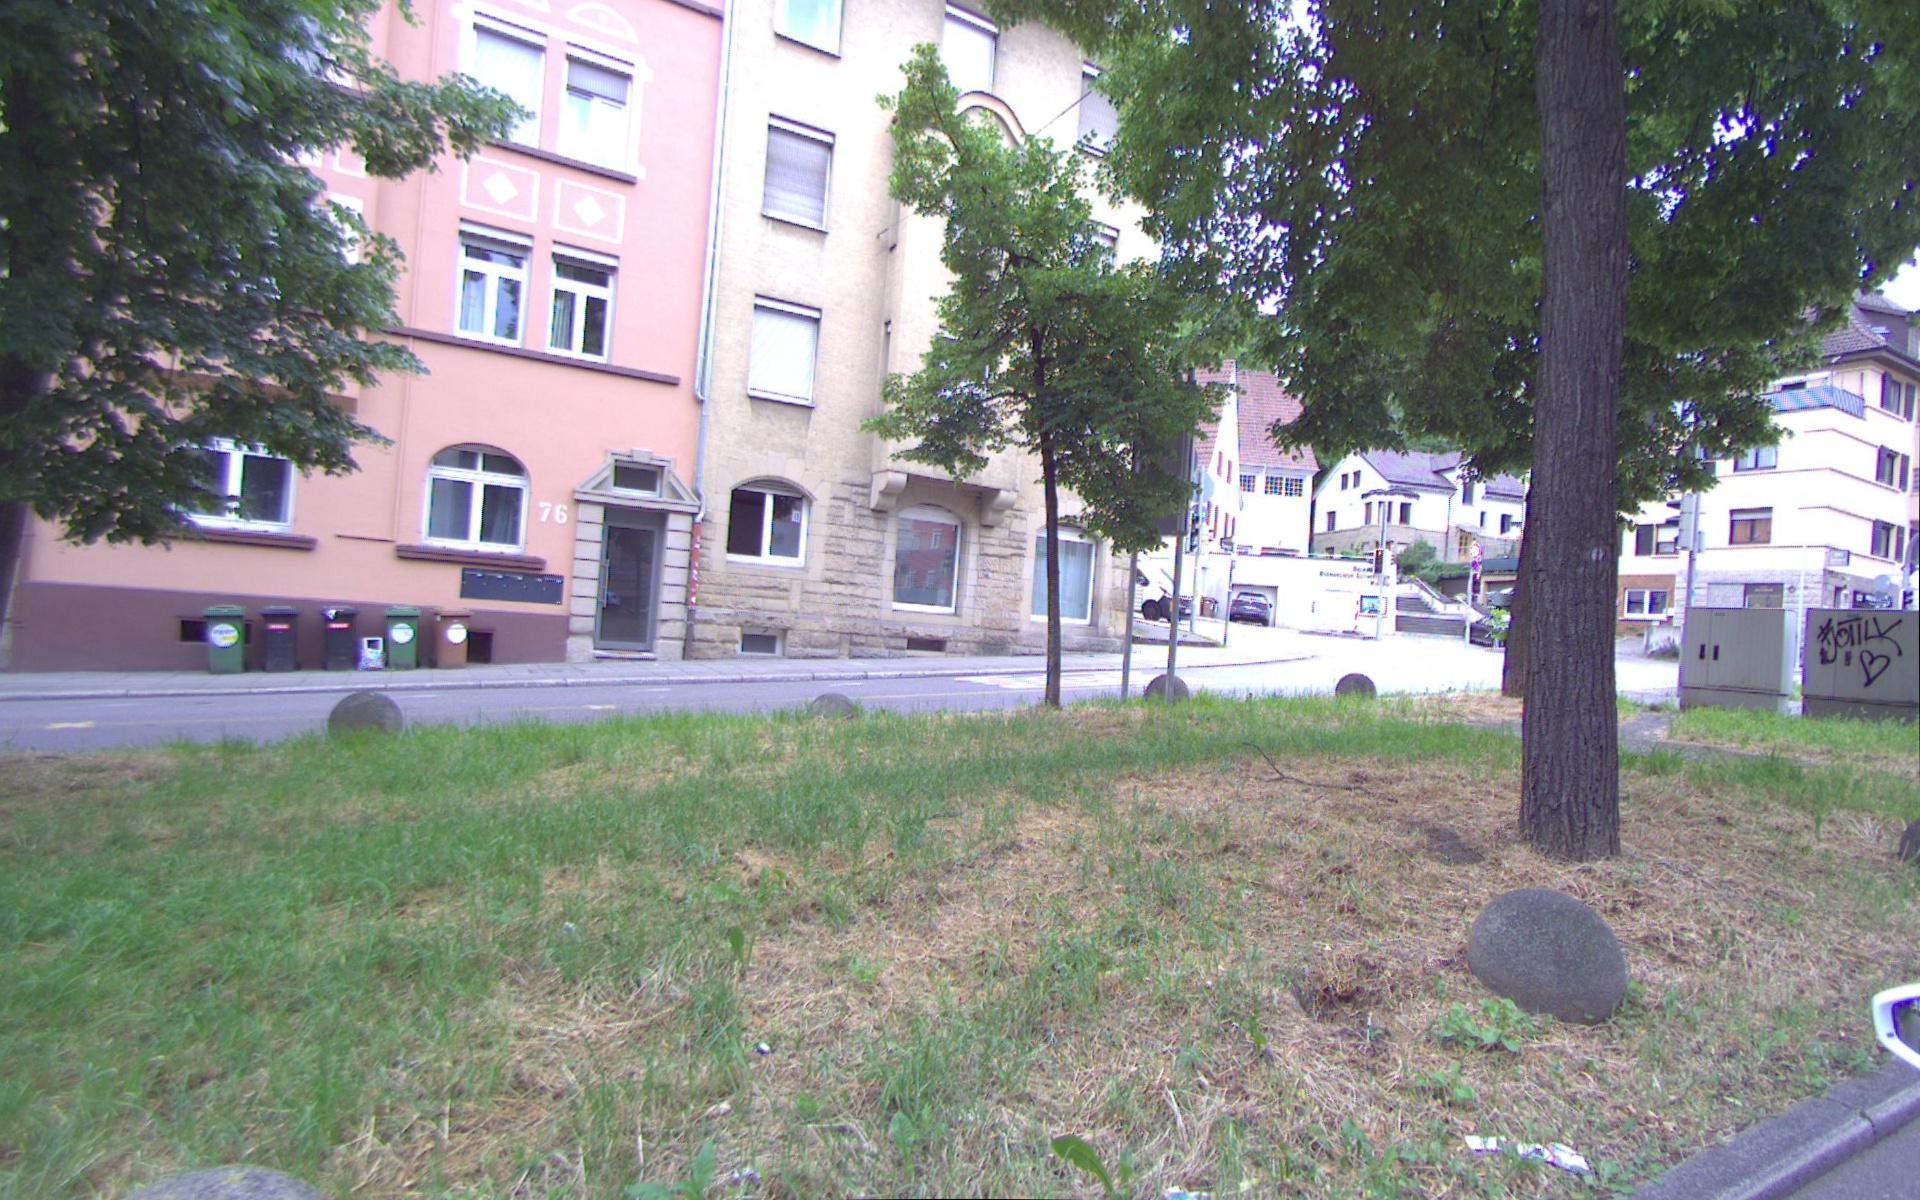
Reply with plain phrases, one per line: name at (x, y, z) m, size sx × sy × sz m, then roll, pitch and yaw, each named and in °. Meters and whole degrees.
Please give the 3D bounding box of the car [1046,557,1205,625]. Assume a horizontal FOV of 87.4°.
car at (5.707, -0.347, 35.103) m, size 5.103 × 2.092 × 1.987 m, roll 4°, pitch 2°, yaw 38°

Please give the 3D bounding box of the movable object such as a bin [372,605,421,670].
movable object such as a bin at (-8.420, 0.557, 15.004) m, size 0.595 × 0.916 × 0.605 m, roll 1°, pitch 2°, yaw -33°

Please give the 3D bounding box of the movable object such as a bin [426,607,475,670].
movable object such as a bin at (-7.798, 0.581, 15.368) m, size 0.595 × 0.916 × 0.605 m, roll 1°, pitch 2°, yaw -33°

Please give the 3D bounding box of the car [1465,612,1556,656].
car at (23.170, 1.414, 42.432) m, size 1.844 × 1.687 × 4.002 m, roll 3°, pitch -1°, yaw 4°

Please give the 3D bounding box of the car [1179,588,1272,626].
car at (11.987, 0.299, 45.357) m, size 3.920 × 1.530 × 1.800 m, roll 2°, pitch 1°, yaw 18°

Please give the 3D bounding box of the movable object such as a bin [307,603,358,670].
movable object such as a bin at (-9.137, 0.527, 14.630) m, size 0.595 × 0.916 × 0.605 m, roll 1°, pitch 2°, yaw -33°

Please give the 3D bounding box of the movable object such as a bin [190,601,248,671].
movable object such as a bin at (-10.277, 0.492, 13.945) m, size 0.595 × 0.916 × 0.605 m, roll 1°, pitch 2°, yaw -33°

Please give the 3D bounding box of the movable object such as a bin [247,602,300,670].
movable object such as a bin at (-9.723, 0.505, 14.243) m, size 0.595 × 0.916 × 0.605 m, roll 1°, pitch 2°, yaw -33°
